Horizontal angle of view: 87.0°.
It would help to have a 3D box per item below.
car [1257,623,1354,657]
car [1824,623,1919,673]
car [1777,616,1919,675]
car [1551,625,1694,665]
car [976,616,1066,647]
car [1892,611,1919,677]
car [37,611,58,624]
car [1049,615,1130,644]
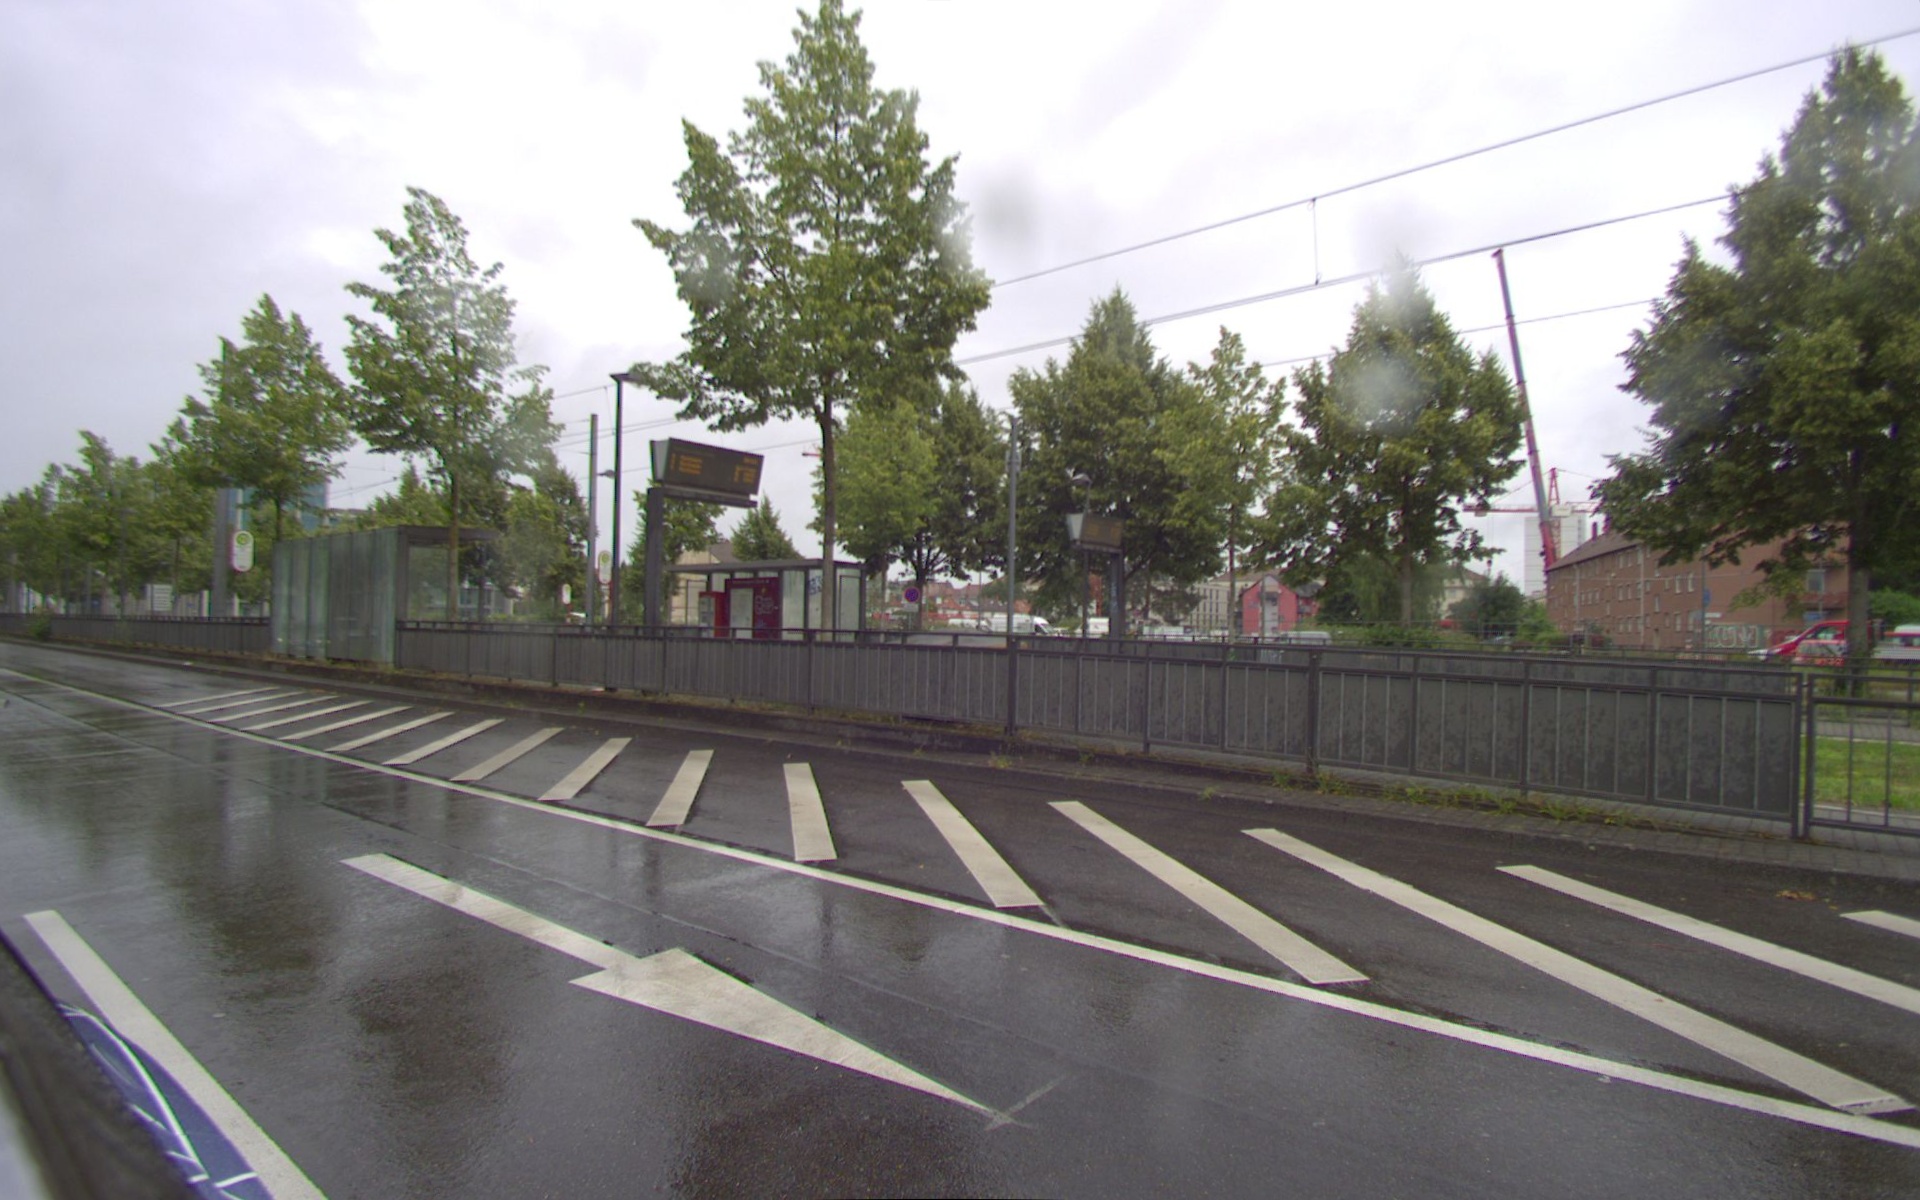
[{"bbox_3d":[26.633,3.039,78.045,6.804,2.495,2.335,0,-2,28],"label":"car"},{"bbox_3d":[40.194,1.982,41.844,2.319,2.029,6.440,2,-3,-38],"label":"car"},{"bbox_3d":[34.766,1.667,37.665,2.319,2.029,6.441,-1,0,-38],"label":"car"},{"bbox_3d":[37.039,2.480,56.824,6.393,2.029,2.336,-1,0,26],"label":"car"},{"bbox_3d":[5.124,2.655,86.096,7.627,2.495,2.327,-1,0,38],"label":"car"},{"bbox_3d":[46.123,1.982,45.114,2.319,2.961,6.441,-1,0,-38],"label":"car"},{"bbox_3d":[-141.806,2.700,157.221,3.999,2.029,1.972,-1,0,42],"label":"car"},{"bbox_3d":[11.379,2.572,89.408,6.826,2.495,2.470,-1,0,38],"label":"car"}]
